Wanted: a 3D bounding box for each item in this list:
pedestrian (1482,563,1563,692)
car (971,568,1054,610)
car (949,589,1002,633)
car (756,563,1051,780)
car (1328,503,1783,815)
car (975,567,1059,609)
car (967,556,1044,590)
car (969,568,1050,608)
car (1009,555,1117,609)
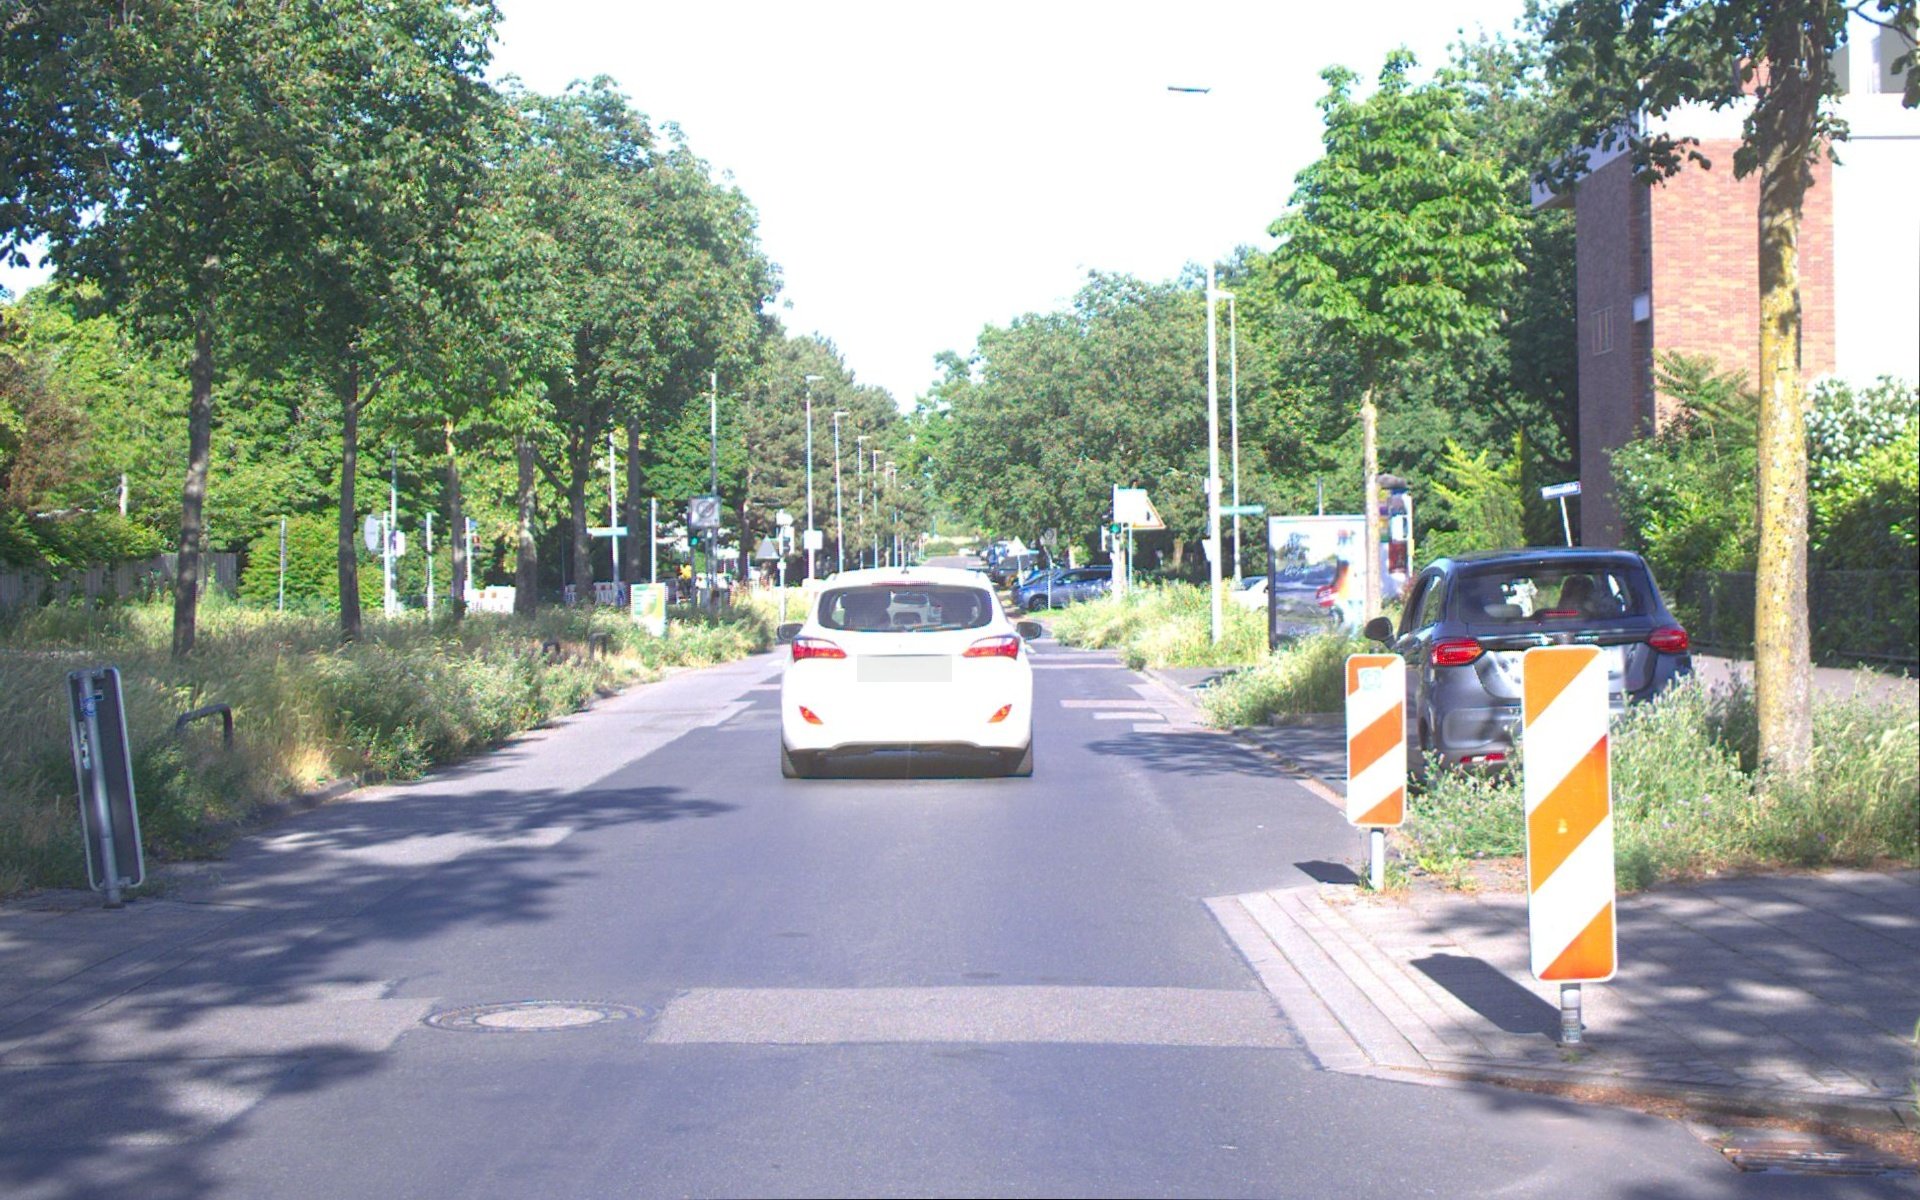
[{"bbox_3d":[8.851,0.421,54.096,1.112,2.007,0.921,0,0,0],"label":"pedestrian"},{"bbox_3d":[2.575,-0.557,169.436,3.987,2.007,2.000,0,0,-1],"label":"car"},{"bbox_3d":[0.548,0.376,124.953,1.816,1.503,3.658,2,0,0],"label":"car"},{"bbox_3d":[-0.466,0.461,25.443,1.993,1.450,4.225,0,1,-2],"label":"car"},{"bbox_3d":[3.648,0.348,21.813,1.993,1.722,4.000,-2,0,-2],"label":"car"},{"bbox_3d":[2.766,-0.574,166.870,3.987,2.007,2.000,0,0,-1],"label":"car"},{"bbox_3d":[2.395,-1.437,182.426,3.986,1.744,2.000,0,0,-2],"label":"car"},{"bbox_3d":[2.461,-0.612,172.157,3.987,2.007,2.000,0,0,-1],"label":"car"},{"bbox_3d":[3.892,-0.686,130.193,3.987,2.007,2.000,0,1,-1],"label":"car"}]
